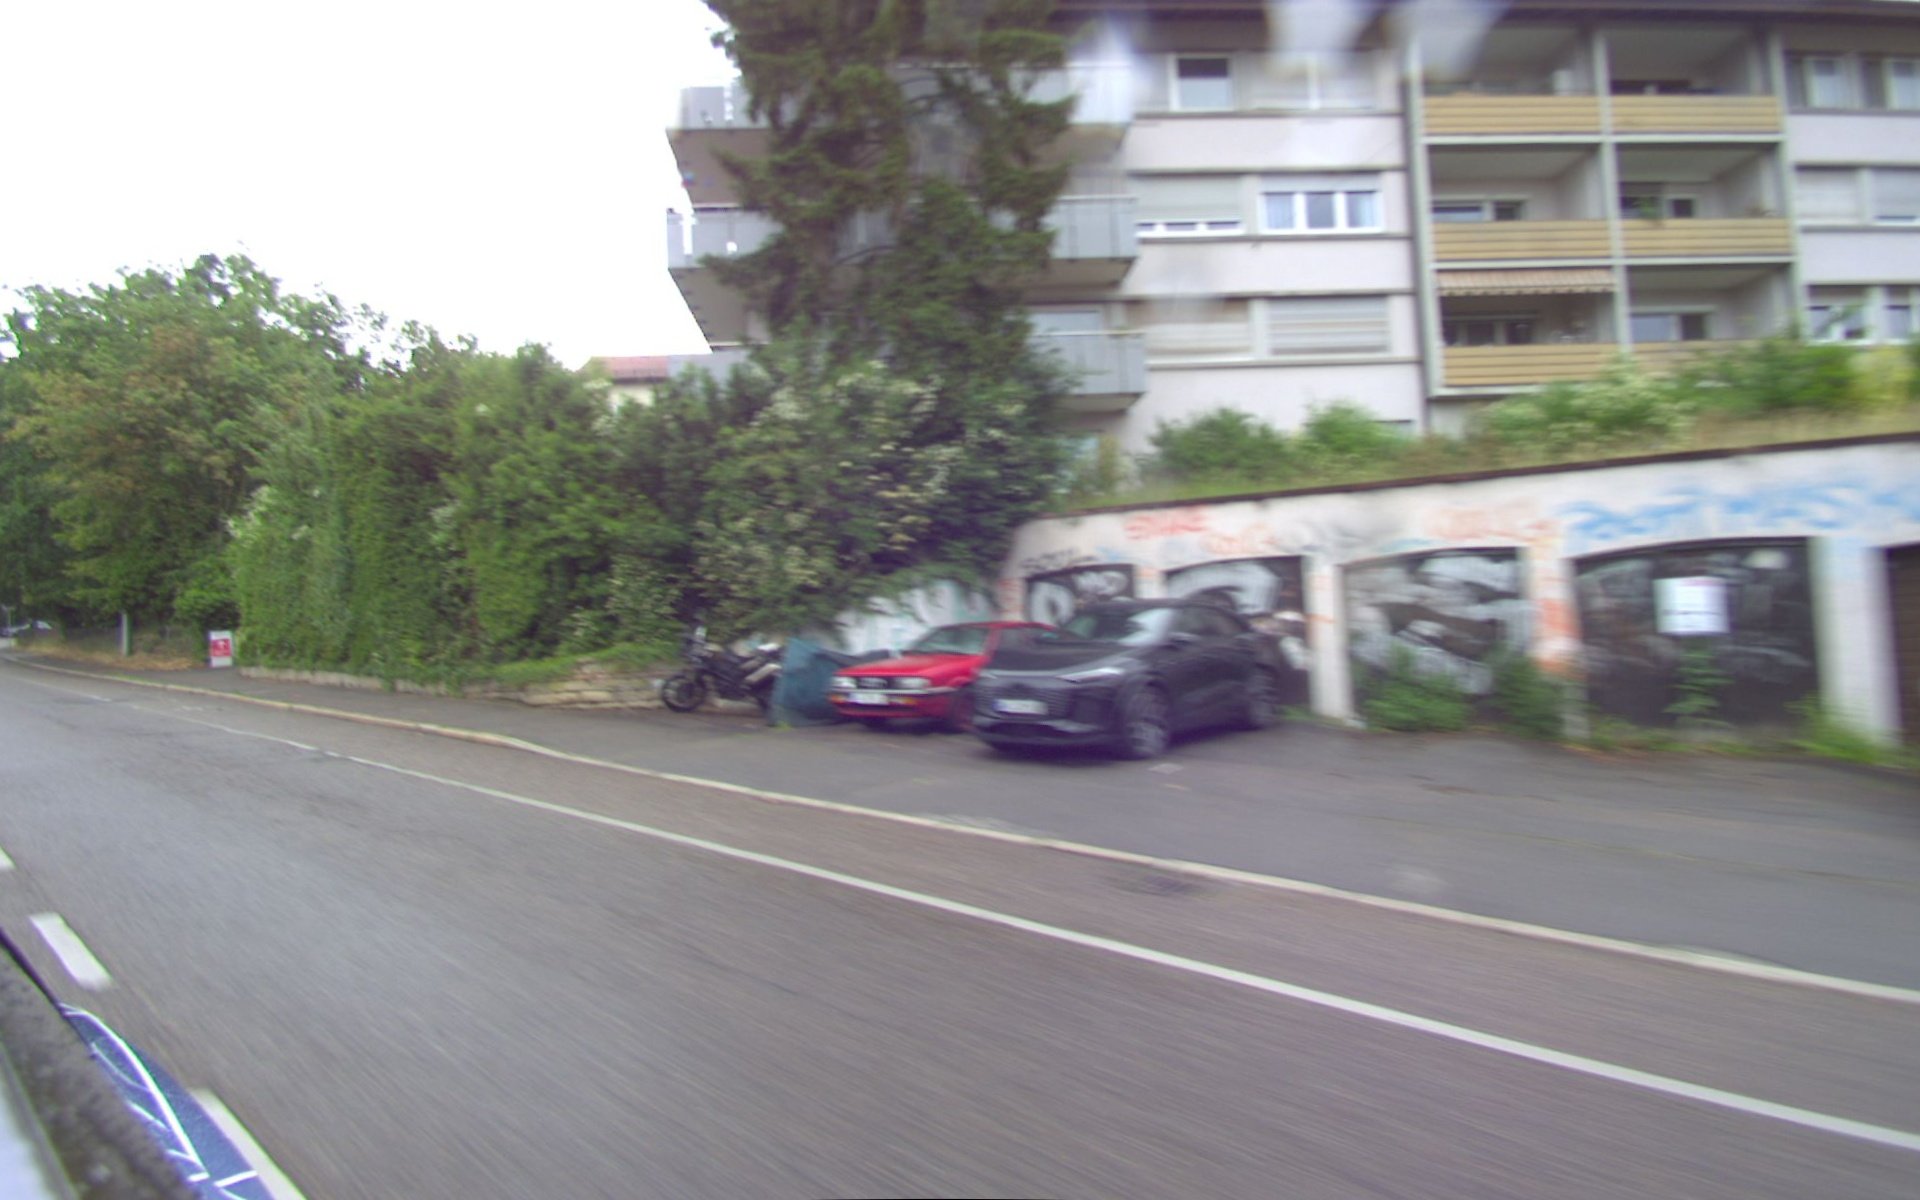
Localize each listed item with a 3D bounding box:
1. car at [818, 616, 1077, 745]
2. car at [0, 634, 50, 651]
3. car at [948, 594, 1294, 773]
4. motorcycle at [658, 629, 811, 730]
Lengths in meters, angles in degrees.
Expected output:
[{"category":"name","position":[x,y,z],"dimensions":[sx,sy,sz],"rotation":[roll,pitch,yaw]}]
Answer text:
[{"category":"car","position":[-0.042,0.952,13.474],"dimensions":[1.712,1.416,3.601],"rotation":[-1,-1,34]},{"category":"car","position":[-87.555,3.925,94.368],"dimensions":[1.702,1.455,4.123],"rotation":[-1,-1,1]},{"category":"car","position":[1.997,0.790,11.377],"dimensions":[1.813,1.614,4.404],"rotation":[-3,-2,40]},{"category":"motorcycle","position":[-3.214,1.083,14.322],"dimensions":[2.311,1.330,0.612],"rotation":[-1,-1,30]}]
